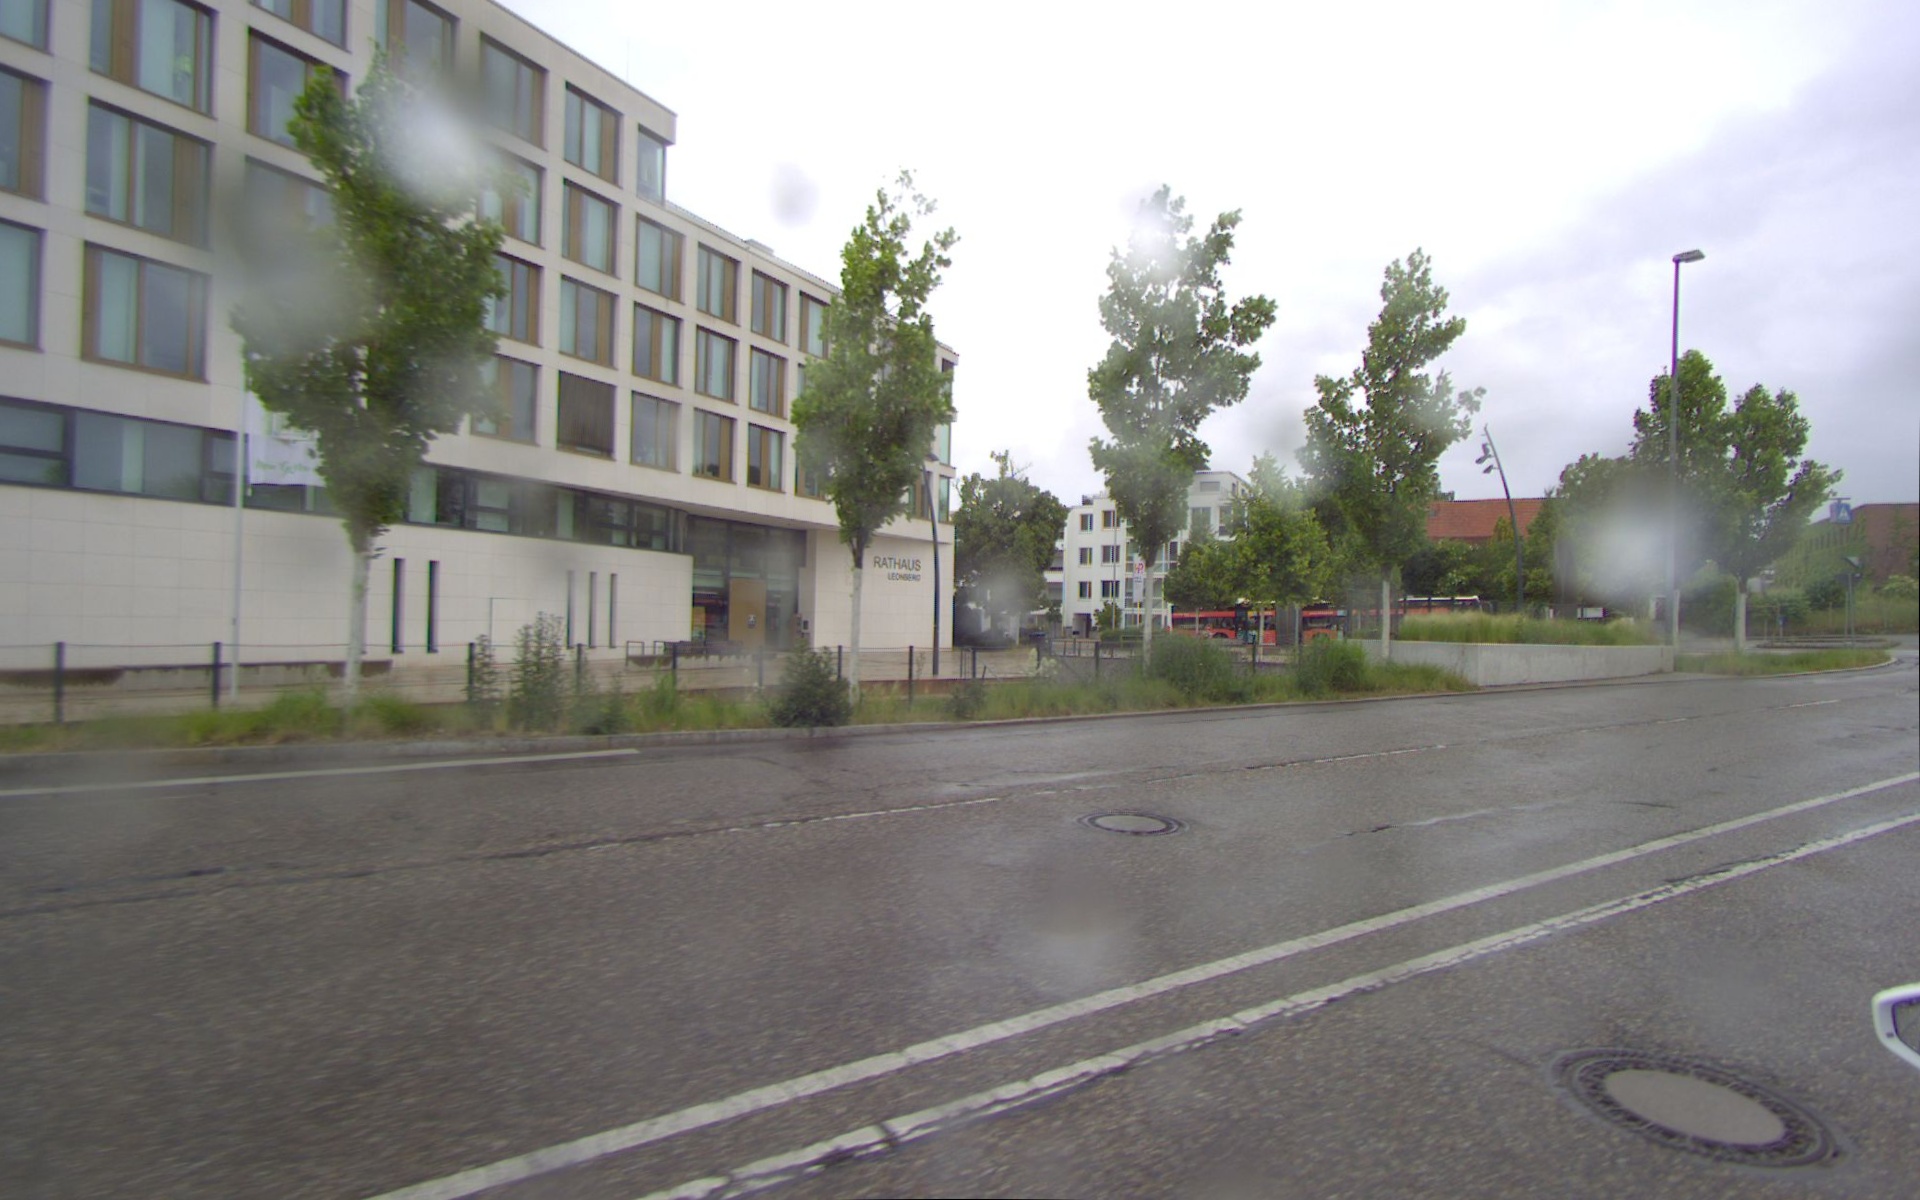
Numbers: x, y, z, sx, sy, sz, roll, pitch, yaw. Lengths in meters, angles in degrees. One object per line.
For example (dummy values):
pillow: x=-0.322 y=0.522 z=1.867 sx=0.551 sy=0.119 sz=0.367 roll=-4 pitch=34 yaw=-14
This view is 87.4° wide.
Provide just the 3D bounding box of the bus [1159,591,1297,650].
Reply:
bus: x=16.510 y=1.226 z=62.092 sx=7.703 sy=3.323 sz=2.737 roll=1 pitch=-3 yaw=32

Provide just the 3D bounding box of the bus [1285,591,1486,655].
bus: x=24.204 y=1.268 z=57.487 sx=10.230 sy=3.323 sz=2.856 roll=1 pitch=-3 yaw=32
